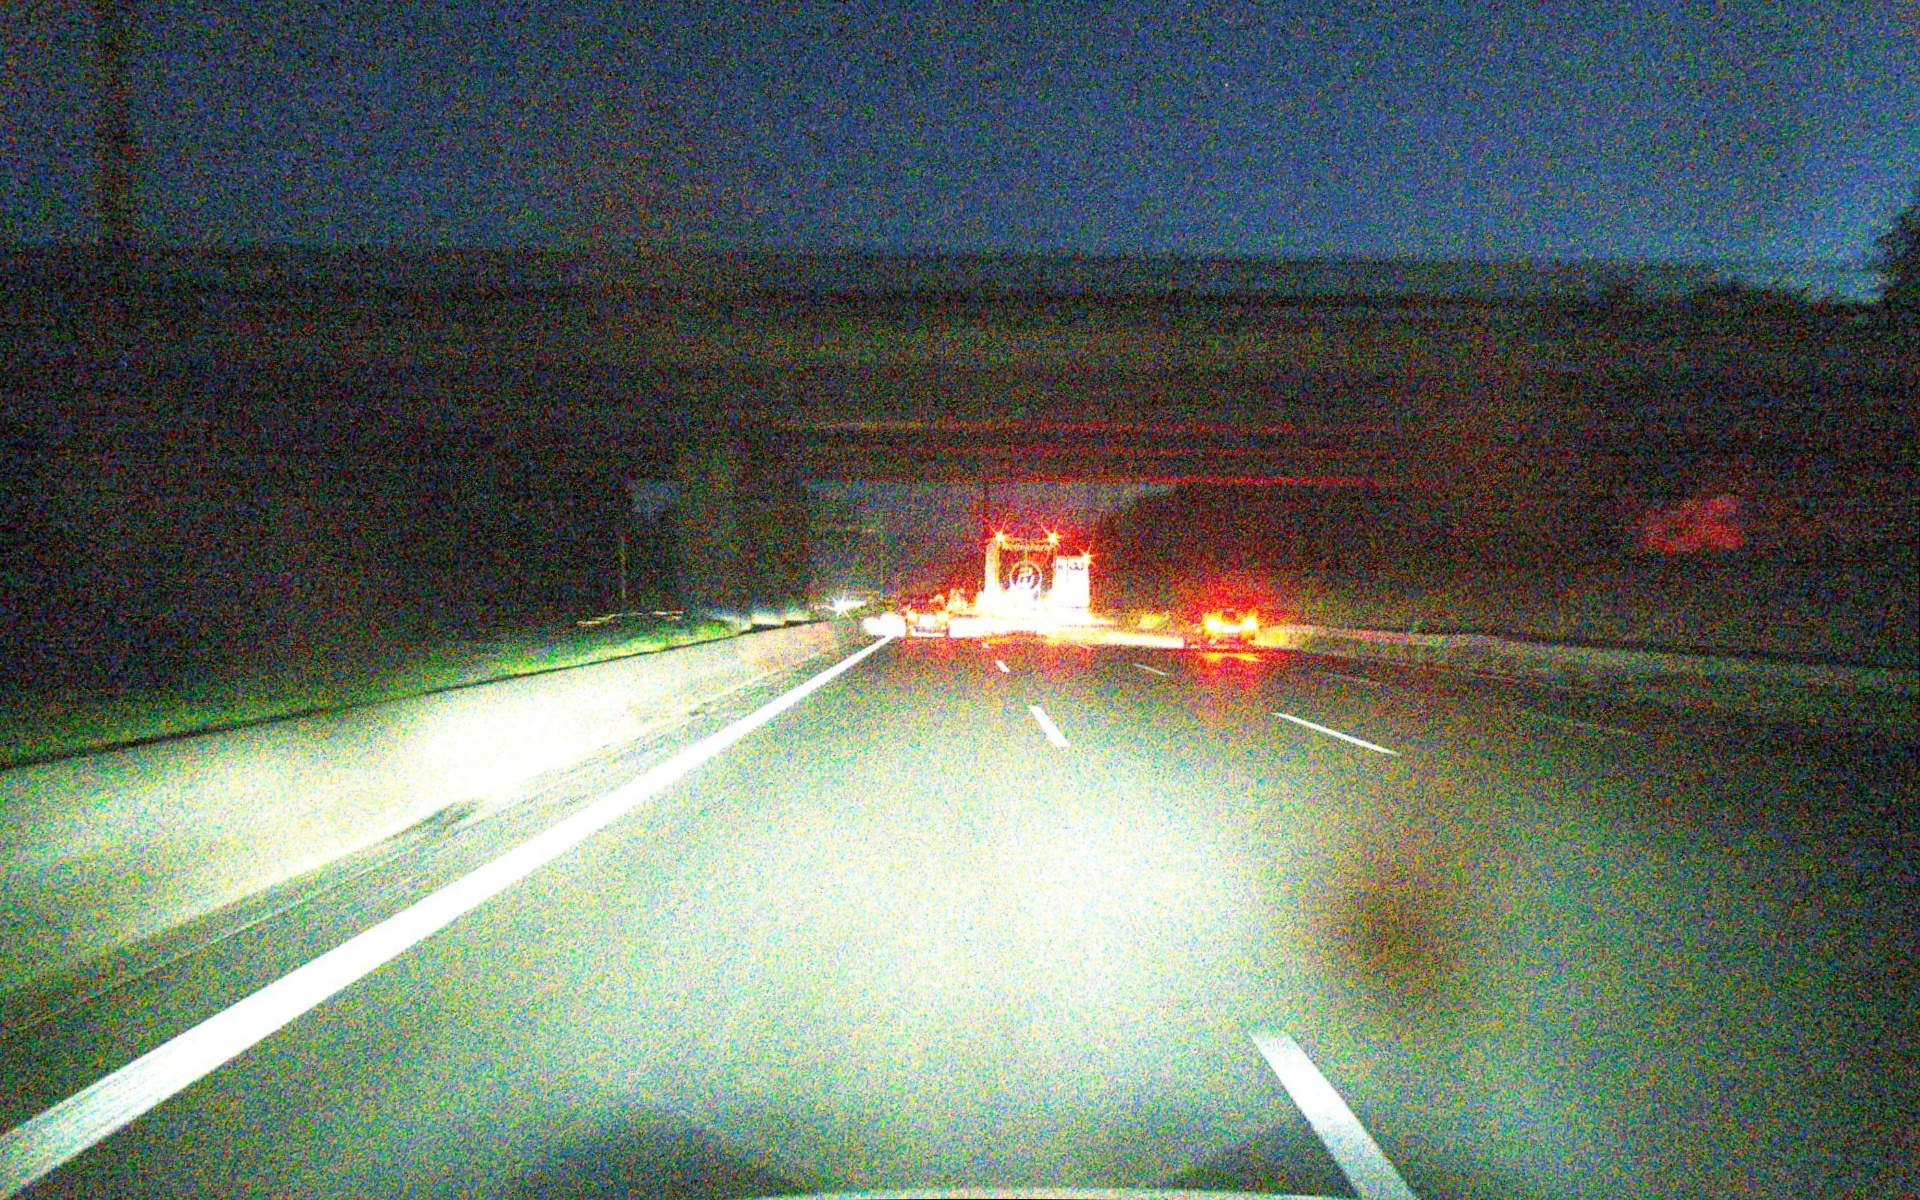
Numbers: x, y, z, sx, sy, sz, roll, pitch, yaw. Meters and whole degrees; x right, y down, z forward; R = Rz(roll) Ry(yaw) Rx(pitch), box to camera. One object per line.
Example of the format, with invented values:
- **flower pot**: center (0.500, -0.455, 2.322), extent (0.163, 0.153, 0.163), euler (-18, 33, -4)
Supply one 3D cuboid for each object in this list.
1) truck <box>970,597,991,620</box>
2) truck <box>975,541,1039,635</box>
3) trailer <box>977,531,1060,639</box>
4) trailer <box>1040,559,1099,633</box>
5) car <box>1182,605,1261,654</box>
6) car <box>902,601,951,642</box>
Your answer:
- **truck**: center (2.604, 1.104, 214.648), extent (2.036, 2.737, 7.302), euler (2, 1, -4)
- **truck**: center (2.217, -0.537, 80.219), extent (2.608, 4.280, 6.720), euler (2, 0, -2)
- **trailer**: center (2.436, -0.566, 73.424), extent (2.687, 4.280, 13.505), euler (2, 0, -2)
- **trailer**: center (6.463, -0.183, 99.026), extent (2.539, 4.144, 10.004), euler (2, 0, -2)
- **car**: center (8.437, 0.932, 53.677), extent (1.784, 1.492, 4.246), euler (2, 0, -1)
- **car**: center (-1.341, 0.830, 64.598), extent (1.784, 1.492, 4.245), euler (2, 0, -2)
